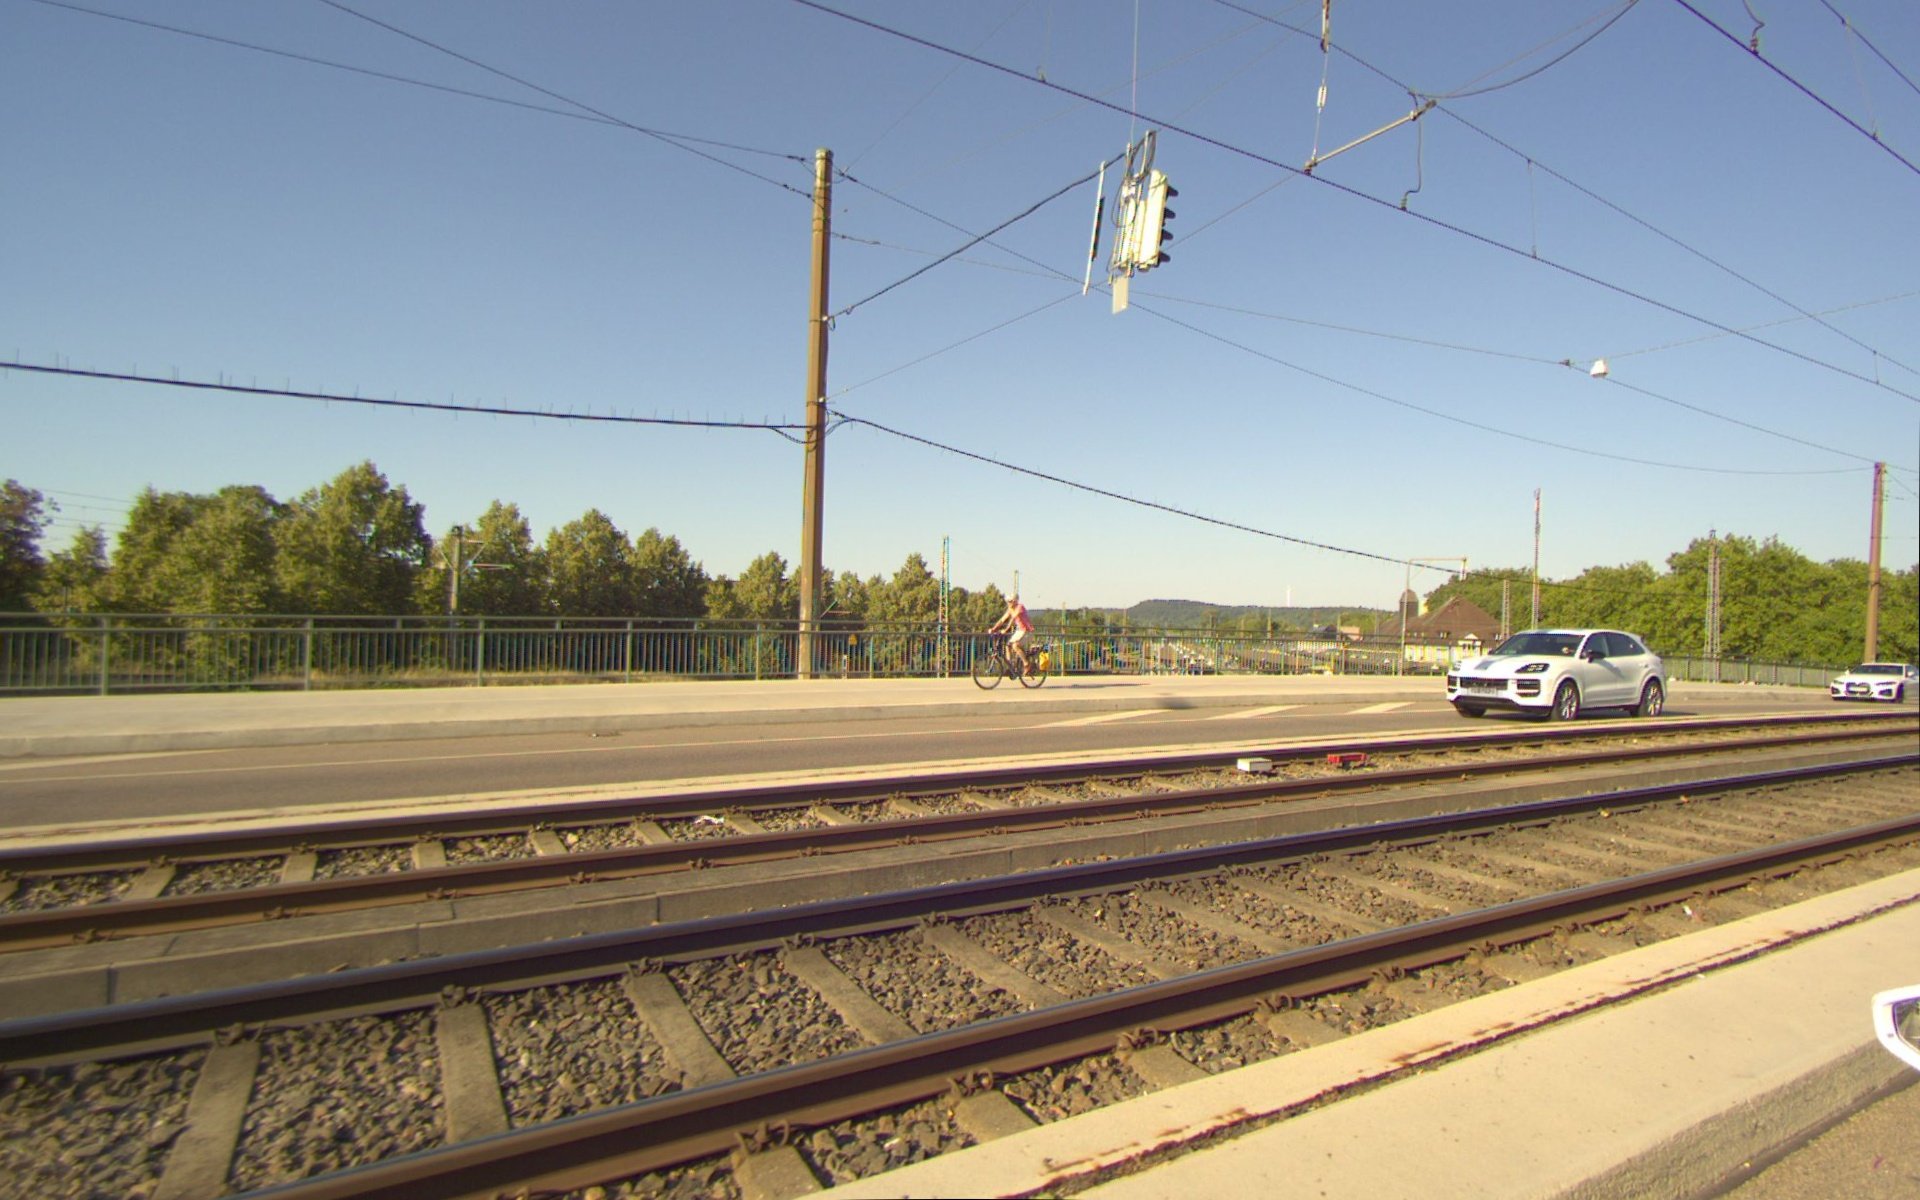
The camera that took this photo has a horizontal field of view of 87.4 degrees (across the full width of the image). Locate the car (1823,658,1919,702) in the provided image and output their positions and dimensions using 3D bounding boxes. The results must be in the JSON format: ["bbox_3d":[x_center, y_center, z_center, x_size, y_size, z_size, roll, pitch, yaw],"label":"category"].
[{"bbox_3d":[32.603,2.784,35.513,4.863,1.374,1.676,2,-1,-31],"label":"car"}]

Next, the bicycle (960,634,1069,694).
[{"bbox_3d":[1.119,1.284,20.322,2.234,1.137,0.622,2,-1,-31],"label":"bicycle"}]

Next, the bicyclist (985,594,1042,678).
[{"bbox_3d":[1.088,0.726,20.298,0.925,1.655,0.622,2,-1,-31],"label":"bicyclist"}]

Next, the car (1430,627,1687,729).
[{"bbox_3d":[11.310,1.400,18.901,5.031,1.659,1.991,2,-1,-31],"label":"car"}]
